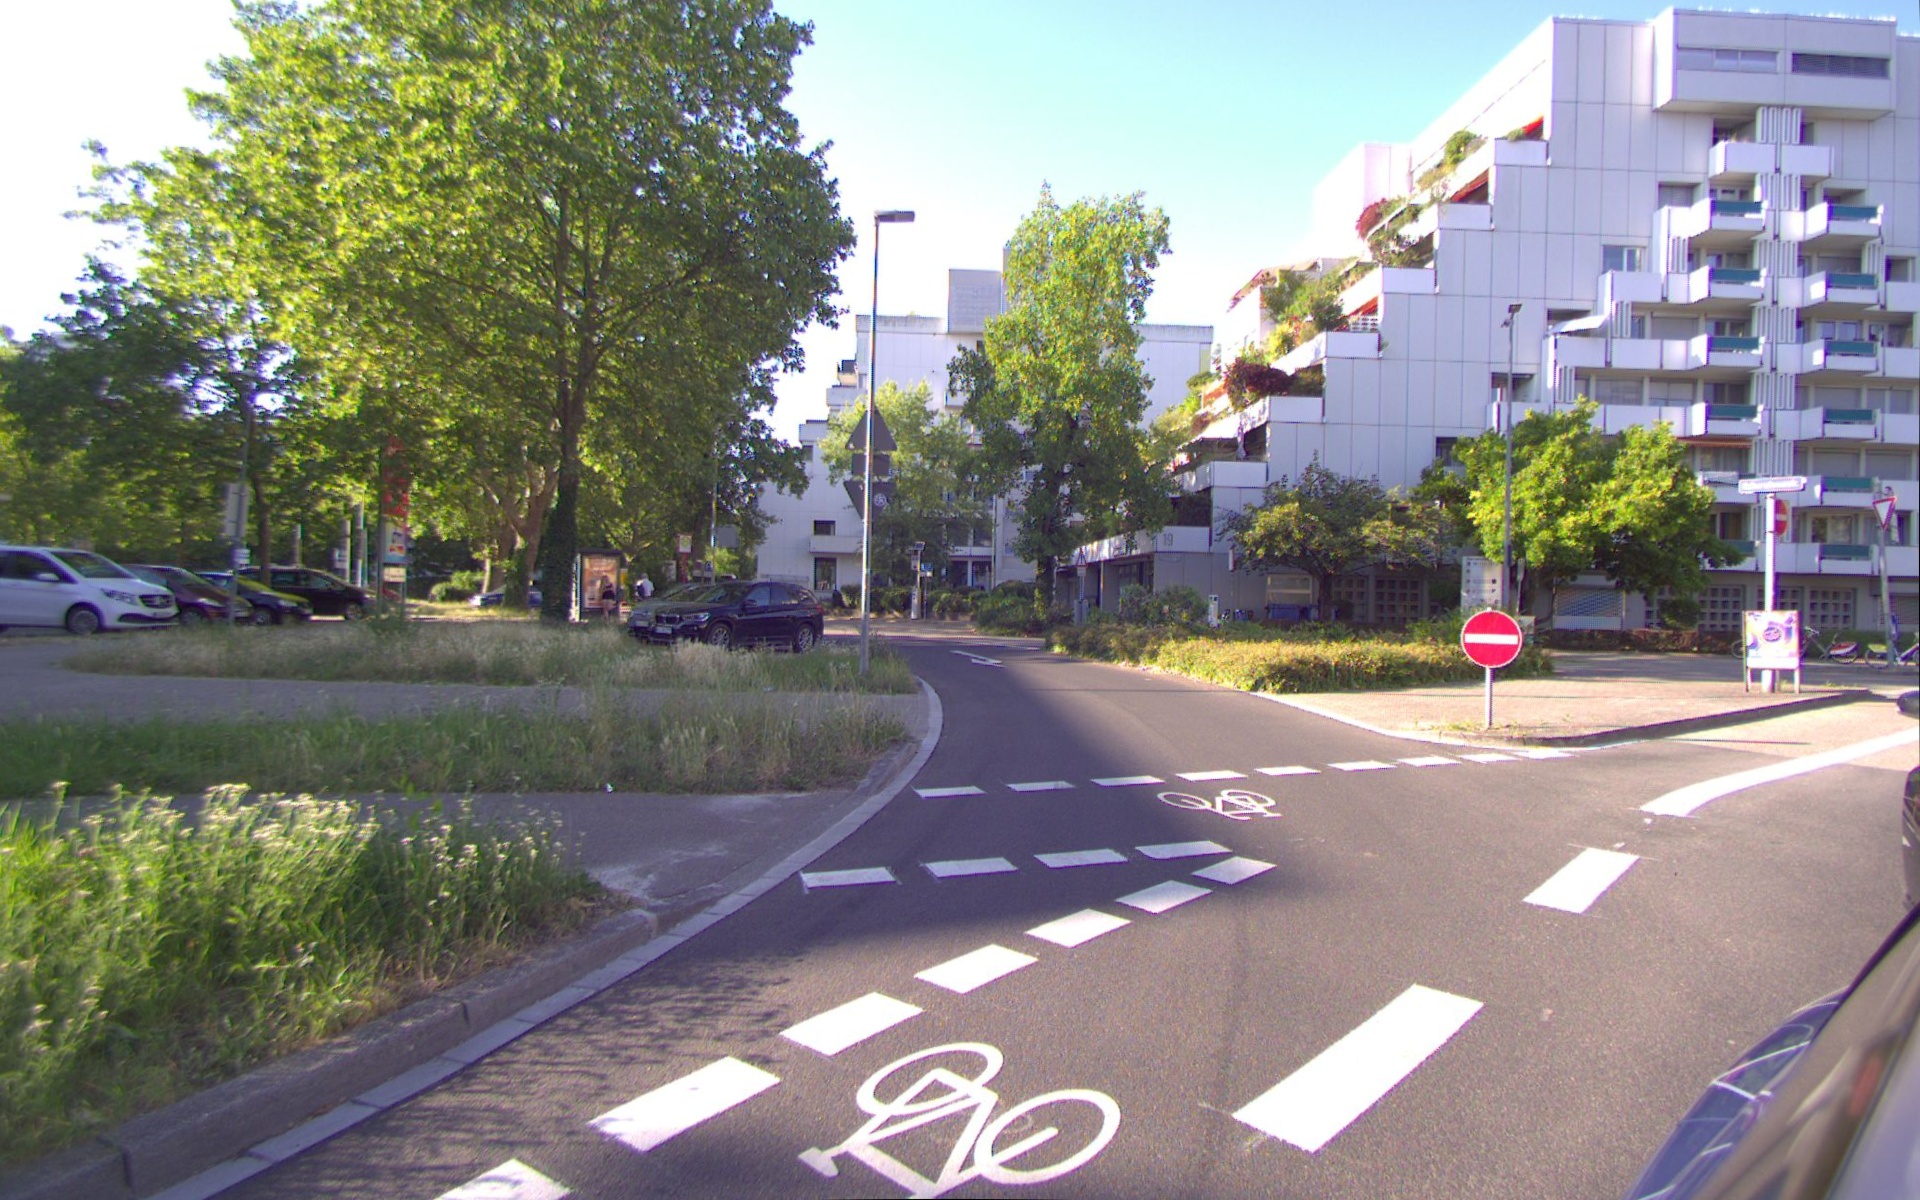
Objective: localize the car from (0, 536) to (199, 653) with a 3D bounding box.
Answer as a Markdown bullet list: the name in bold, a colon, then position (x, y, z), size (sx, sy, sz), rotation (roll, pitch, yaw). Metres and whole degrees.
- **car**: position (-19.351, -0.196, 21.264), size (4.951, 2.123, 2.003), rotation (4, 0, -5)

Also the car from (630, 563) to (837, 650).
- **car**: position (-4.996, 0.193, 22.936), size (1.925, 1.680, 4.423), rotation (4, 0, 33)

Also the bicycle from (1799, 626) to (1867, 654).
- **bicycle**: position (27.497, 1.259, 31.889), size (0.456, 0.794, 1.572), rotation (1, 1, -44)

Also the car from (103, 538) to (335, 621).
- **car**: position (-19.643, -0.527, 27.029), size (4.541, 1.797, 2.003), rotation (4, 0, -5)

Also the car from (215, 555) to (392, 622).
- **car**: position (-21.385, -0.372, 33.221), size (4.537, 1.797, 2.005), rotation (4, 0, -25)

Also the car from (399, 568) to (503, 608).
- **car**: position (-23.934, -0.564, 47.638), size (4.040, 1.821, 1.997), rotation (-1, 1, -41)

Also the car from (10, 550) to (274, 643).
- **car**: position (-19.571, -0.089, 24.408), size (4.541, 1.797, 2.003), rotation (4, 0, -5)

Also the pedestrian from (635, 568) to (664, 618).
- **pedestrian**: position (-10.599, -0.235, 34.549), size (0.713, 1.683, 0.744), rotation (1, 0, 6)

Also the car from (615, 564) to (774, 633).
- **car**: position (-7.456, -0.016, 28.659), size (1.865, 1.659, 3.942), rotation (4, 0, 39)

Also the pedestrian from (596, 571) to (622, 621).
- **pedestrian**: position (-12.004, -0.130, 34.648), size (0.619, 1.683, 0.744), rotation (1, 0, -37)

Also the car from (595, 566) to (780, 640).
- **car**: position (-6.763, 0.123, 25.551), size (1.816, 1.607, 4.316), rotation (4, 0, 33)

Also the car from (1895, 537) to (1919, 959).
- **car**: position (5.779, 0.582, 4.616), size (4.446, 1.565, 1.842), rotation (1, -1, -42)
